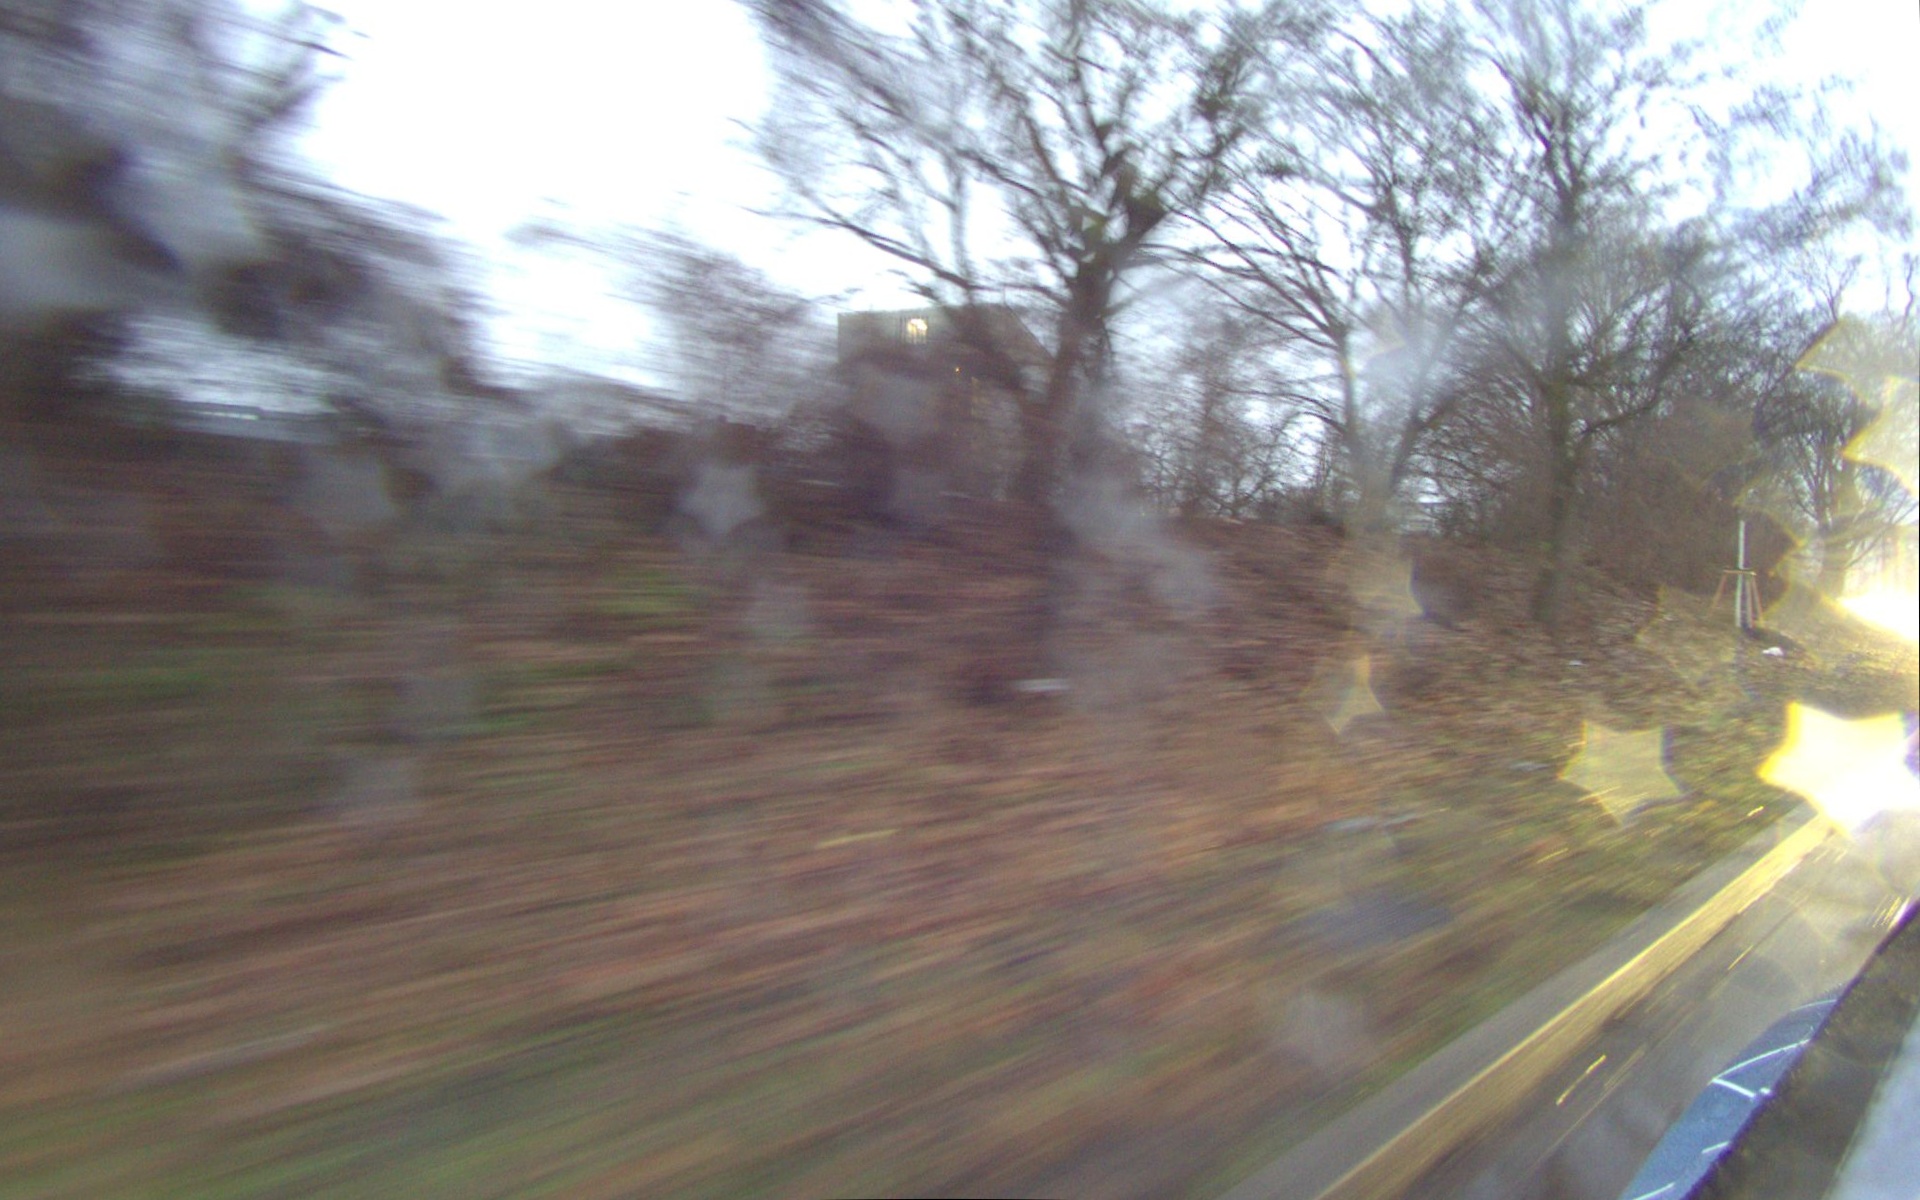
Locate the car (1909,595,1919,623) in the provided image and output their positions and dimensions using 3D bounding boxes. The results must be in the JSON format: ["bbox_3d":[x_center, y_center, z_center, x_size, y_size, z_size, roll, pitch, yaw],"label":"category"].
[{"bbox_3d":[57.053,0.526,59.215,1.941,1.575,4.156,-1,0,40],"label":"car"}]
